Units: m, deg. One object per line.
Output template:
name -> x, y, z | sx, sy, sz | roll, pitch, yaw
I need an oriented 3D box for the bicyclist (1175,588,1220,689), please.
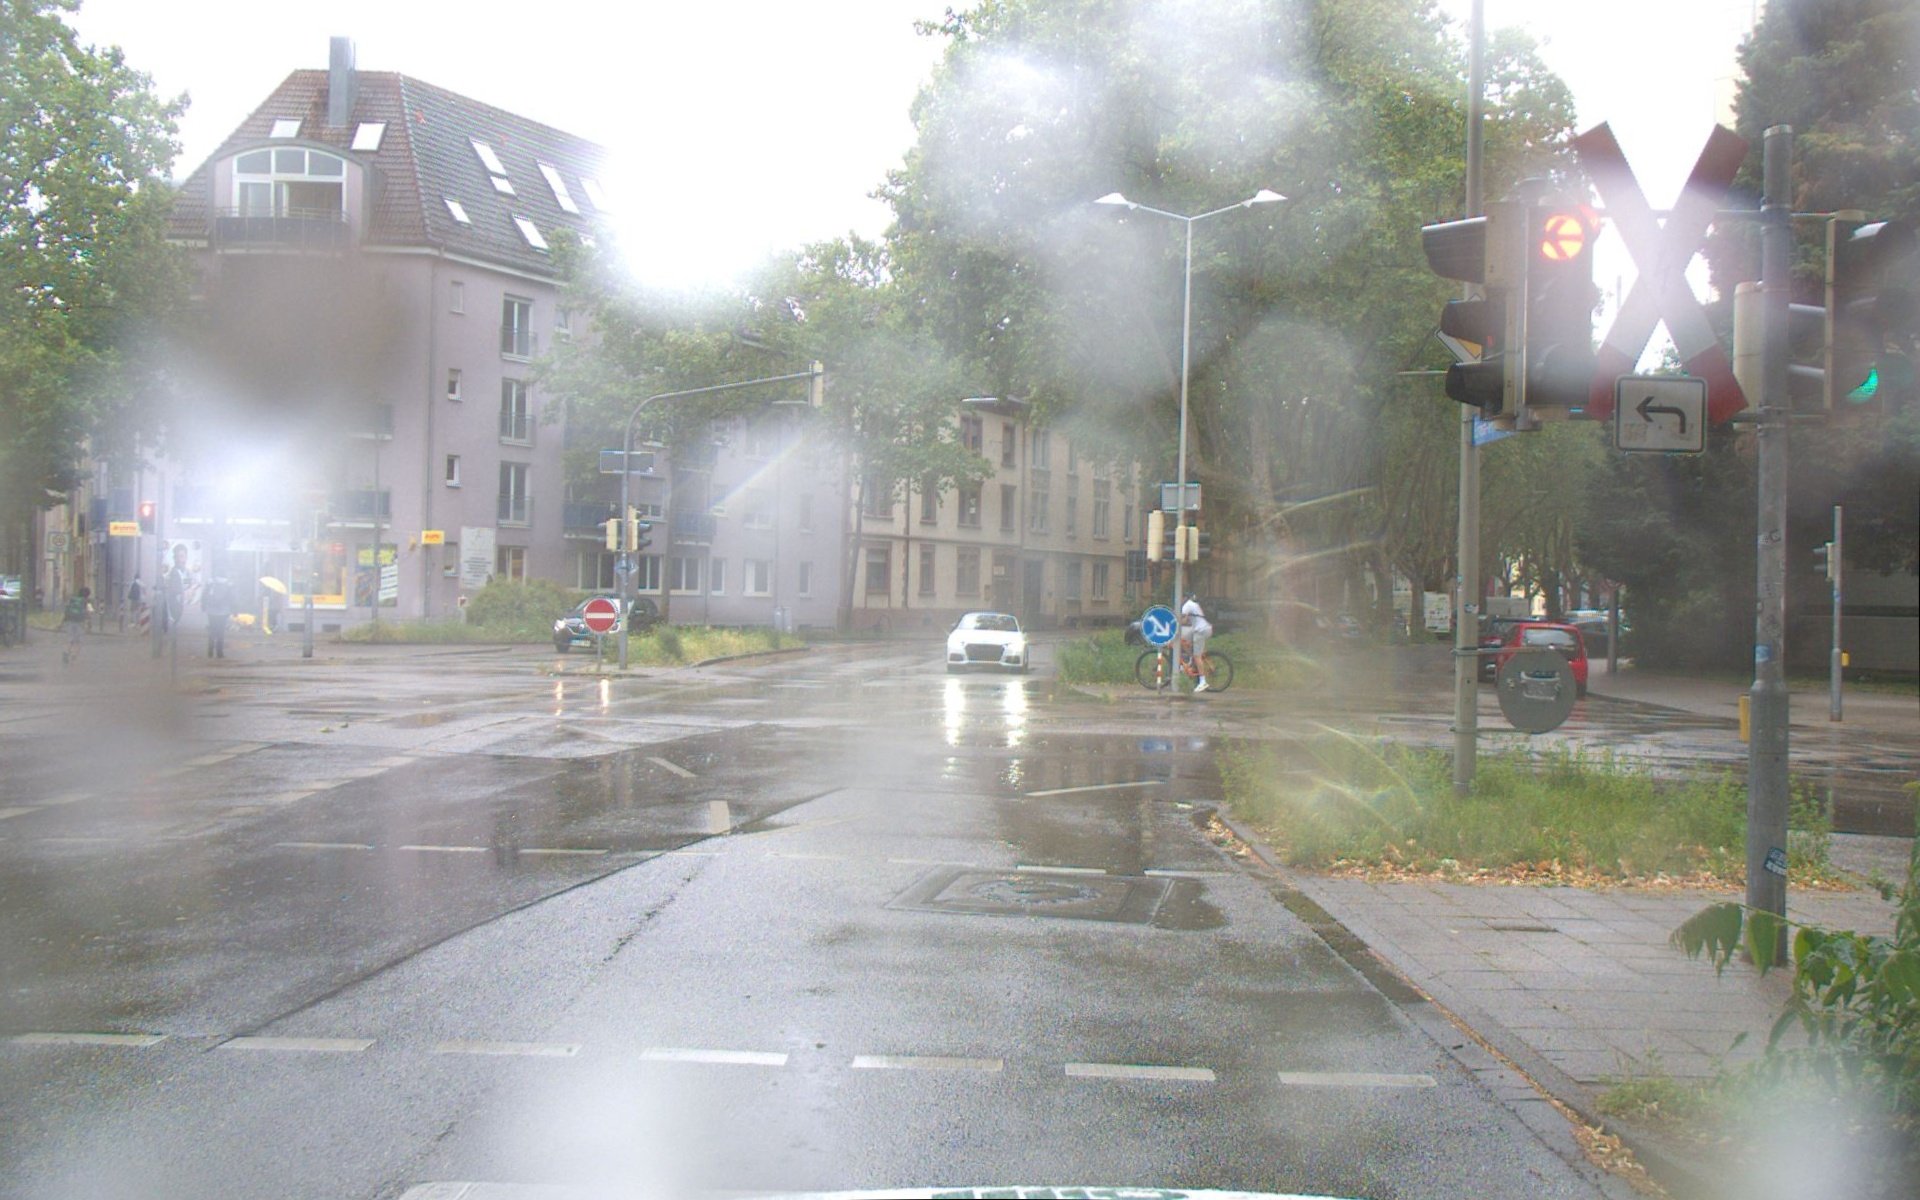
bicyclist -> 4.355, 0.696, 30.419 | 0.778, 1.817, 0.697 | 1, -1, 7

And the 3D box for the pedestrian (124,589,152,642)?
pedestrian -> -25.782, 0.491, 51.874 | 0.667, 1.628, 0.957 | 1, -1, -32

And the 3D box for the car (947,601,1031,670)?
car -> 0.693, 0.798, 39.122 | 1.845, 1.461, 4.001 | 1, 0, 1

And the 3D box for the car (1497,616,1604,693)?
car -> 13.044, 1.163, 36.735 | 1.754, 1.524, 4.003 | 1, 0, 13

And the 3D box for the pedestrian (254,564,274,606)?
pedestrian -> -22.770, -0.487, 54.097 | 0.552, 1.353, 0.443 | 1, -1, -21

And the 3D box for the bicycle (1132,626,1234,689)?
bicycle -> 4.099, 1.051, 30.445 | 1.833, 1.100, 0.657 | 1, 0, 7

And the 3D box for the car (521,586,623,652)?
car -> -9.633, 0.446, 41.344 | 1.716, 1.538, 3.838 | 1, 0, -2

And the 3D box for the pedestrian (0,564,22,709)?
pedestrian -> -11.352, 0.413, 19.019 | 0.715, 1.653, 0.816 | 0, 1, -8

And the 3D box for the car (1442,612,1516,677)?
car -> 14.982, 1.255, 47.908 | 1.745, 1.757, 4.003 | 1, 0, 13

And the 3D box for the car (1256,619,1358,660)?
car -> 13.770, 1.540, 65.640 | 3.902, 1.512, 2.002 | 1, 0, 12

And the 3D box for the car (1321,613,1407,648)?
car -> 19.255, 1.444, 78.925 | 3.902, 1.574, 2.002 | 1, 0, 12

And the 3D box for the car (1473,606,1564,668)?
car -> 13.890, 0.878, 41.305 | 1.745, 1.371, 3.932 | 2, 1, 13

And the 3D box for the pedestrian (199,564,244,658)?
pedestrian -> -14.961, 0.223, 33.516 | 0.777, 1.888, 0.676 | 1, 0, -25

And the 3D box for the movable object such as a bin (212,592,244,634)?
movable object such as a bin -> -22.551, 0.405, 50.963 | 0.736, 1.258, 0.666 | 1, -1, -9

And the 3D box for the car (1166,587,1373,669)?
car -> 6.142, 0.534, 32.820 | 3.902, 1.512, 2.002 | 1, 0, 12

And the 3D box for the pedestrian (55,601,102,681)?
pedestrian -> -15.980, 0.731, 29.982 | 0.643, 1.420, 0.773 | 1, 0, -35

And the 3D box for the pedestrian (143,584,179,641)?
pedestrian -> -22.307, 0.344, 46.181 | 0.744, 1.560, 0.781 | 1, -1, -36

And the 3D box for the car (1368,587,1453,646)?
car -> 23.947, 0.850, 88.068 | 2.005, 2.999, 4.742 | 1, 0, -21

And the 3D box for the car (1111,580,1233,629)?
car -> 6.918, 0.133, 53.831 | 3.784, 1.512, 1.717 | 1, 0, 12

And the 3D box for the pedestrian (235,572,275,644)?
pedestrian -> -21.639, 0.243, 50.789 | 0.892, 2.188, 0.885 | 1, -1, -10
